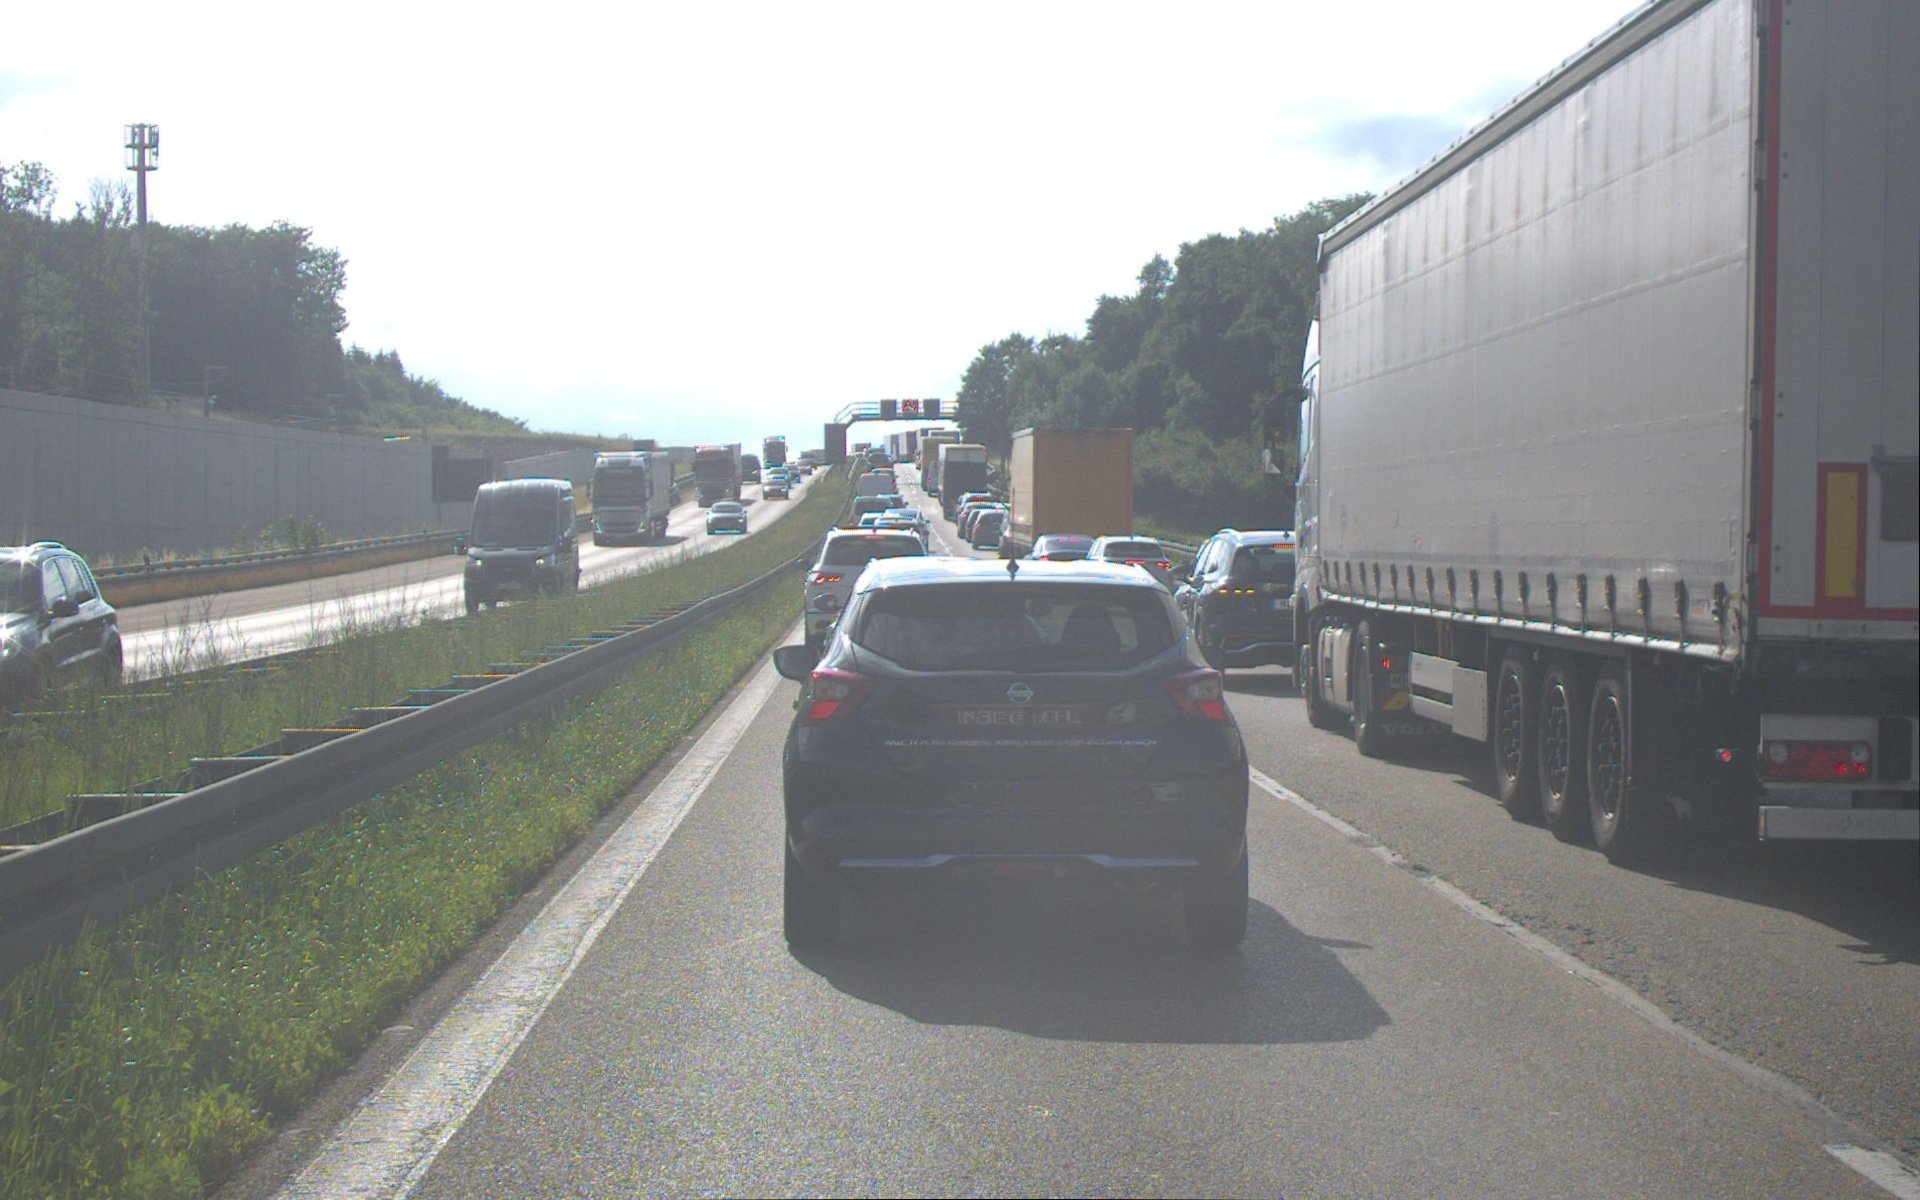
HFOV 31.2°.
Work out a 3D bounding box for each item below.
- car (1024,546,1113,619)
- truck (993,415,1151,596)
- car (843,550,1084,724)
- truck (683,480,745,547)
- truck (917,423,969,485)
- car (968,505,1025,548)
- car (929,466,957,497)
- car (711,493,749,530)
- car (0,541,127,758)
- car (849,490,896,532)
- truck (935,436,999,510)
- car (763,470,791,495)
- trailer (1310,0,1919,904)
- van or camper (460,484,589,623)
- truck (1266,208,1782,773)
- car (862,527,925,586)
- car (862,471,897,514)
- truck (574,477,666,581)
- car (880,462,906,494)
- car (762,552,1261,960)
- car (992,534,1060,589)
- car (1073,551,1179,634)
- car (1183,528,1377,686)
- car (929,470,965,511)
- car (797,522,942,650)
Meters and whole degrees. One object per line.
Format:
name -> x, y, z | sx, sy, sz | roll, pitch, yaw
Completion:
car -> 2.524, -0.435, 80.835 | 1.873, 1.638, 4.232 | 0, 1, -1
truck -> 2.902, -2.424, 93.513 | 3.296, 4.562, 12.442 | 1, 0, -2
car -> -0.011, 0.264, 28.945 | 1.873, 1.353, 4.232 | 0, 1, -1
truck -> -16.972, -5.959, 237.856 | 3.297, 4.539, 12.441 | 0, 1, 1
truck -> -1.384, -11.188, 264.298 | 3.464, 4.561, 12.443 | 1, 2, -2
car -> 1.435, -2.919, 135.811 | 1.873, 1.638, 4.233 | 0, 2, -4
car -> -1.239, -8.545, 247.706 | 1.873, 2.151, 5.212 | 0, 3, -1
car -> -11.284, -4.346, 168.791 | 1.743, 1.700, 4.232 | 1, 0, -3
car -> -8.309, 0.368, 28.955 | 1.708, 1.700, 4.174 | 0, 1, -2
car -> -3.643, -3.704, 142.591 | 1.873, 1.638, 4.233 | 0, 2, -2
truck -> 0.398, -8.042, 218.416 | 3.464, 4.561, 12.443 | 1, 2, -2
car -> -12.982, -8.321, 244.091 | 1.744, 1.700, 4.232 | 1, 2, -1
trailer -> 4.365, -0.799, 19.882 | 3.130, 3.997, 13.367 | 1, 0, -1
van or camper -> -9.219, -0.955, 73.202 | 2.090, 2.810, 5.896 | 1, 0, -1
truck -> 4.260, -0.778, 27.144 | 3.133, 4.002, 5.164 | 1, 0, -1
car -> -1.993, -1.321, 103.206 | 1.873, 1.638, 4.233 | 0, 2, -1
car -> -4.411, -5.878, 187.316 | 1.873, 2.151, 5.212 | 0, 3, -1
truck -> -15.516, -3.251, 157.772 | 3.296, 4.561, 12.442 | 0, 1, -1
car -> -4.782, -8.702, 244.614 | 1.873, 2.151, 5.212 | 0, 3, -1
car -> 0.147, 0.532, 14.362 | 1.773, 1.446, 4.232 | 0, 1, -1
car -> 1.996, -1.195, 104.613 | 1.873, 1.638, 4.232 | 0, 1, -1
car -> 3.371, -0.170, 70.439 | 1.873, 1.639, 4.232 | 0, 0, -1
car -> 3.415, 0.047, 37.386 | 1.697, 1.605, 4.437 | 0, 1, 0
car -> -0.750, -6.181, 192.963 | 1.873, 2.151, 5.212 | 0, 3, -1
car -> -1.204, -0.202, 46.426 | 1.873, 1.638, 4.232 | 0, 1, -1
